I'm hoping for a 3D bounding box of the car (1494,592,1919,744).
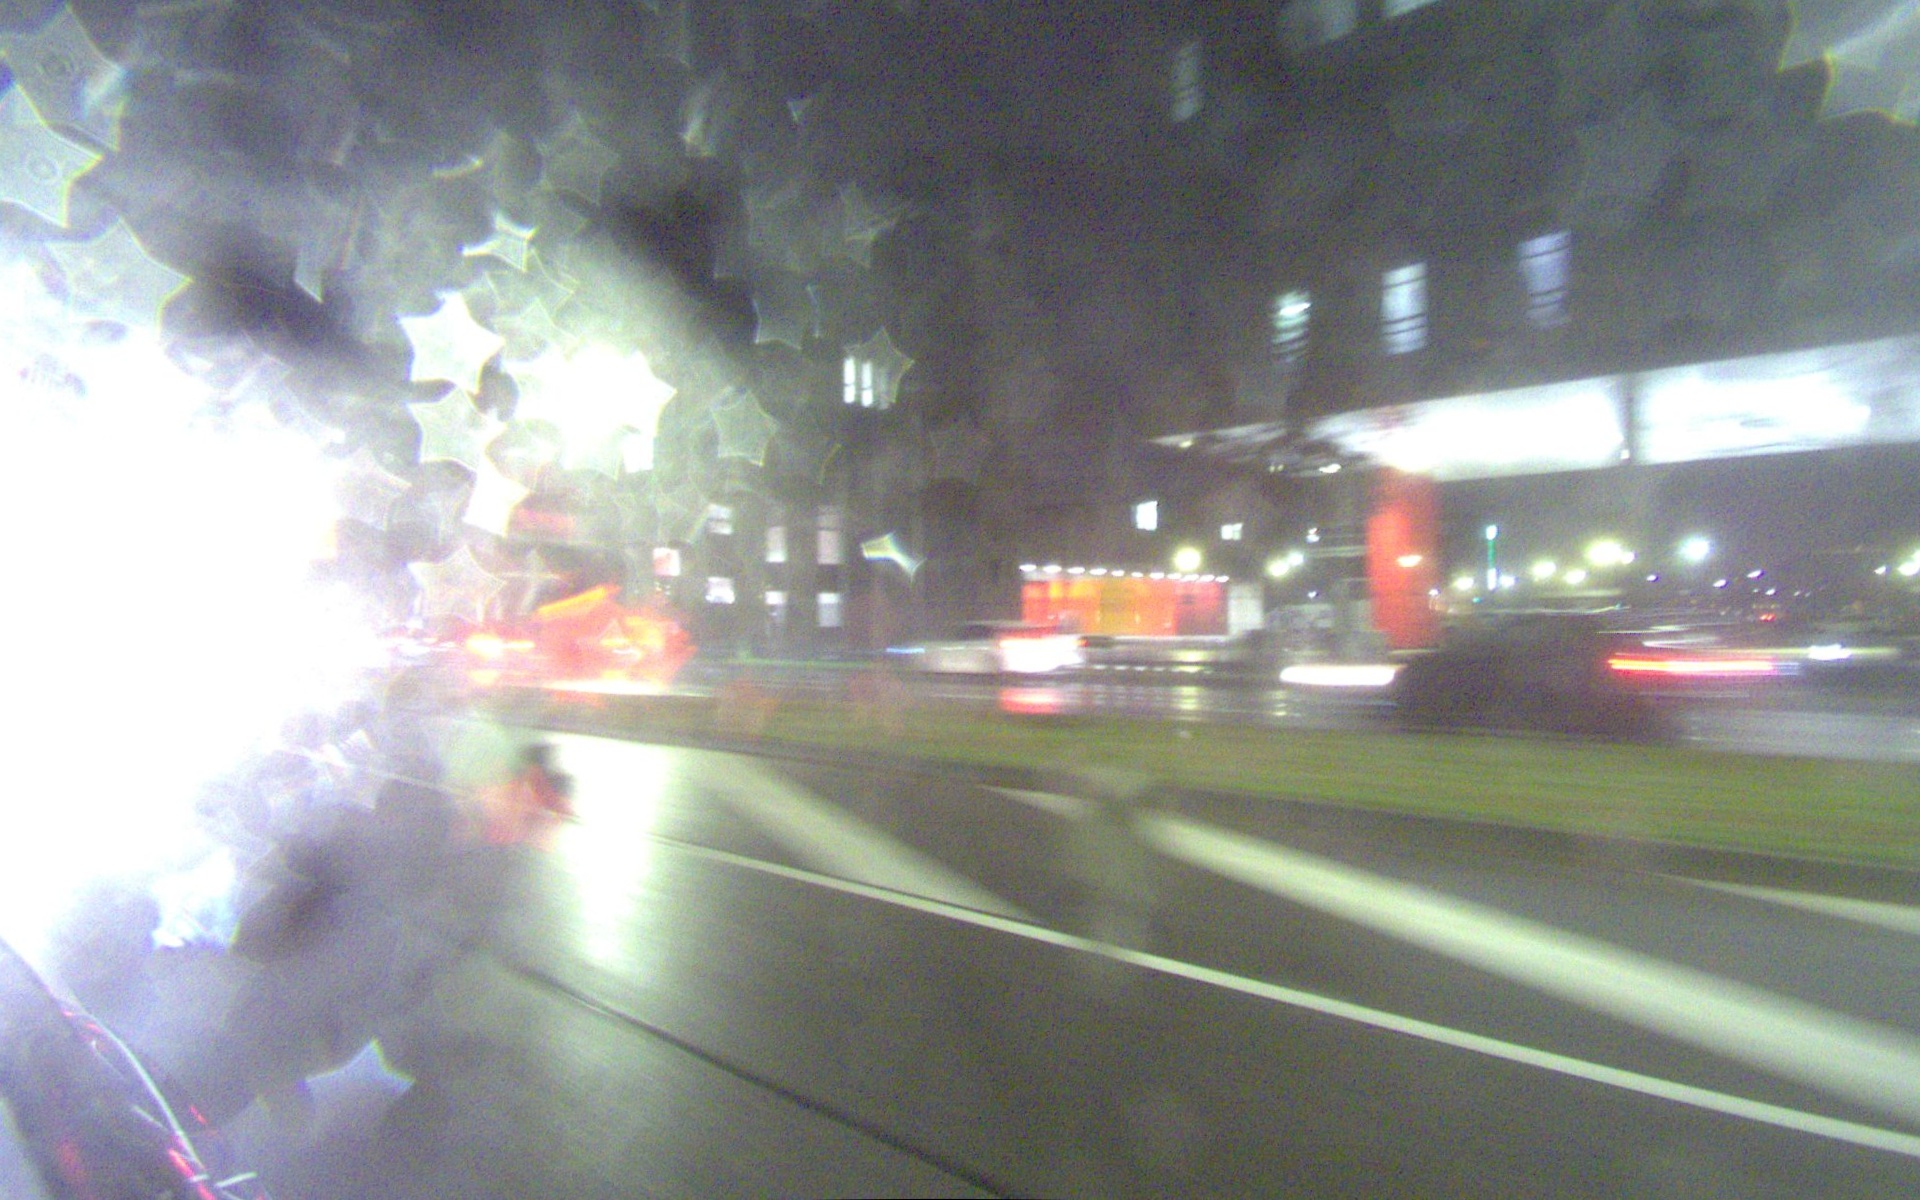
[{"bbox_3d":[9.372,0.768,12.741,4.364,1.604,1.823,-2,-1,42],"label":"car"}]

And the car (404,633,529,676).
[{"bbox_3d":[-17.428,1.882,35.623,5.553,1.369,1.825,-2,-1,40],"label":"car"}]

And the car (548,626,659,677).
[{"bbox_3d":[-12.635,1.783,35.715,4.364,1.604,1.823,-2,-1,42],"label":"car"}]

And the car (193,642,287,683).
[{"bbox_3d":[-31.162,2.657,43.738,5.318,1.604,1.826,-2,-1,37],"label":"car"}]

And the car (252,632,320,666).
[{"bbox_3d":[-34.791,2.518,52.183,4.749,1.604,1.823,-2,-1,42],"label":"car"}]

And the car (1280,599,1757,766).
[{"bbox_3d":[6.070,0.805,11.341,4.364,1.497,1.823,-2,-1,42],"label":"car"}]

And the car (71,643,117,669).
[{"bbox_3d":[-57.016,3.645,66.620,3.817,1.589,1.689,-2,-1,40],"label":"car"}]

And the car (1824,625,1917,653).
[{"bbox_3d":[54.358,2.344,60.527,3.996,1.586,1.884,-2,-1,40],"label":"car"}]

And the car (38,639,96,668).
[{"bbox_3d":[-51.583,3.081,58.422,4.253,1.605,1.824,-2,-5,40],"label":"car"}]

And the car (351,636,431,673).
[{"bbox_3d":[-26.982,2.557,47.925,4.748,1.604,1.824,-2,-1,42],"label":"car"}]

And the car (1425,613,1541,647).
[{"bbox_3d":[29.243,1.685,56.681,5.423,1.829,1.973,-2,-1,40],"label":"car"}]

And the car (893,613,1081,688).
[{"bbox_3d":[0.572,1.165,24.254,4.364,1.604,1.823,-2,-1,42],"label":"car"}]

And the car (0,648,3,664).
[{"bbox_3d":[-98.431,5.661,102.553,3.817,1.589,1.689,-2,-1,40],"label":"car"}]
